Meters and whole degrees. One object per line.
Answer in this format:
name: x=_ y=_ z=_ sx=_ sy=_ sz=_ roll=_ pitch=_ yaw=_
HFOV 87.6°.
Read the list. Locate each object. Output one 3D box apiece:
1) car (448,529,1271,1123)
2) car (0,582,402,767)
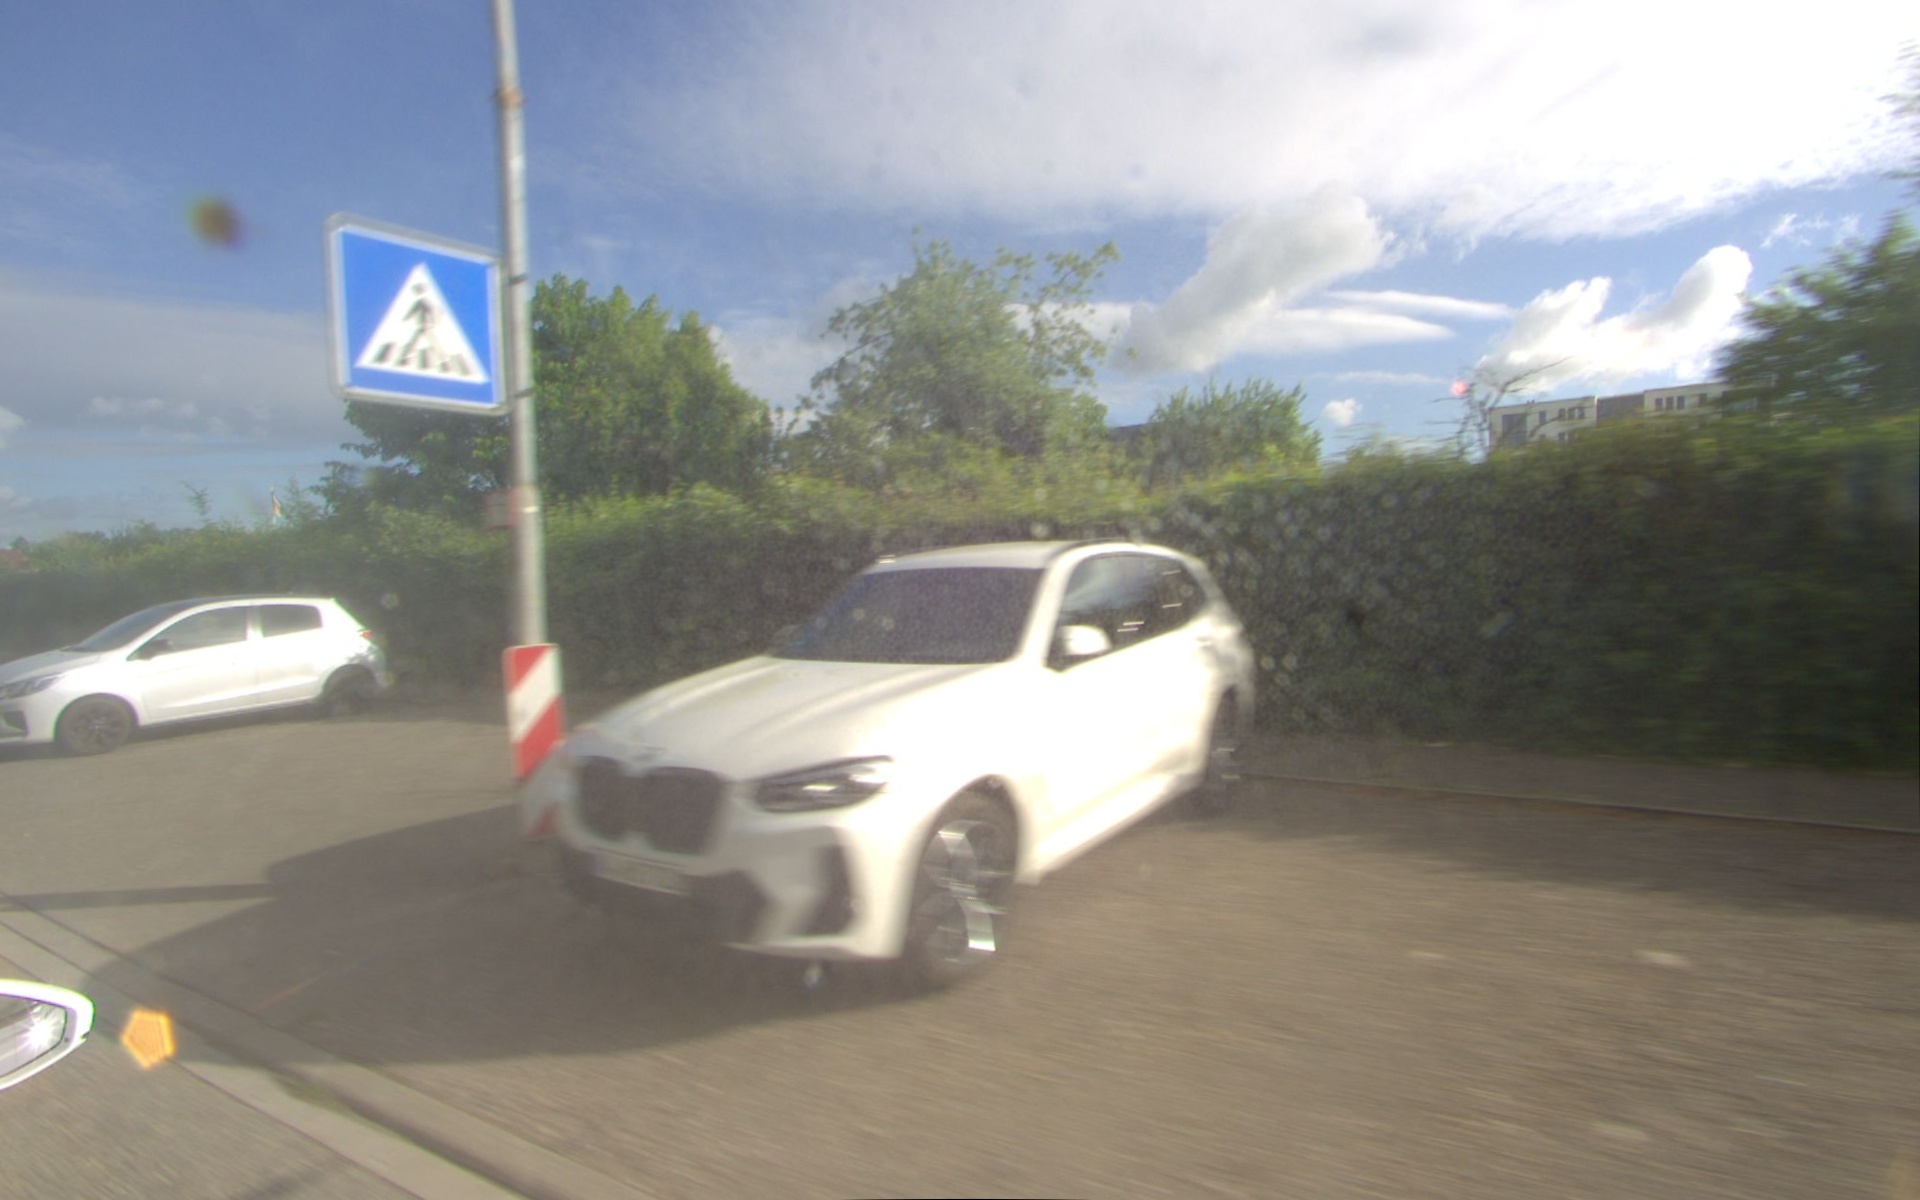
car: x=0.067 y=0.543 z=5.253 sx=1.739 sy=1.723 sz=4.572 roll=0 pitch=3 yaw=34
car: x=-8.782 y=0.668 z=11.414 sx=1.667 sy=1.512 sz=3.845 roll=2 pitch=5 yaw=32
